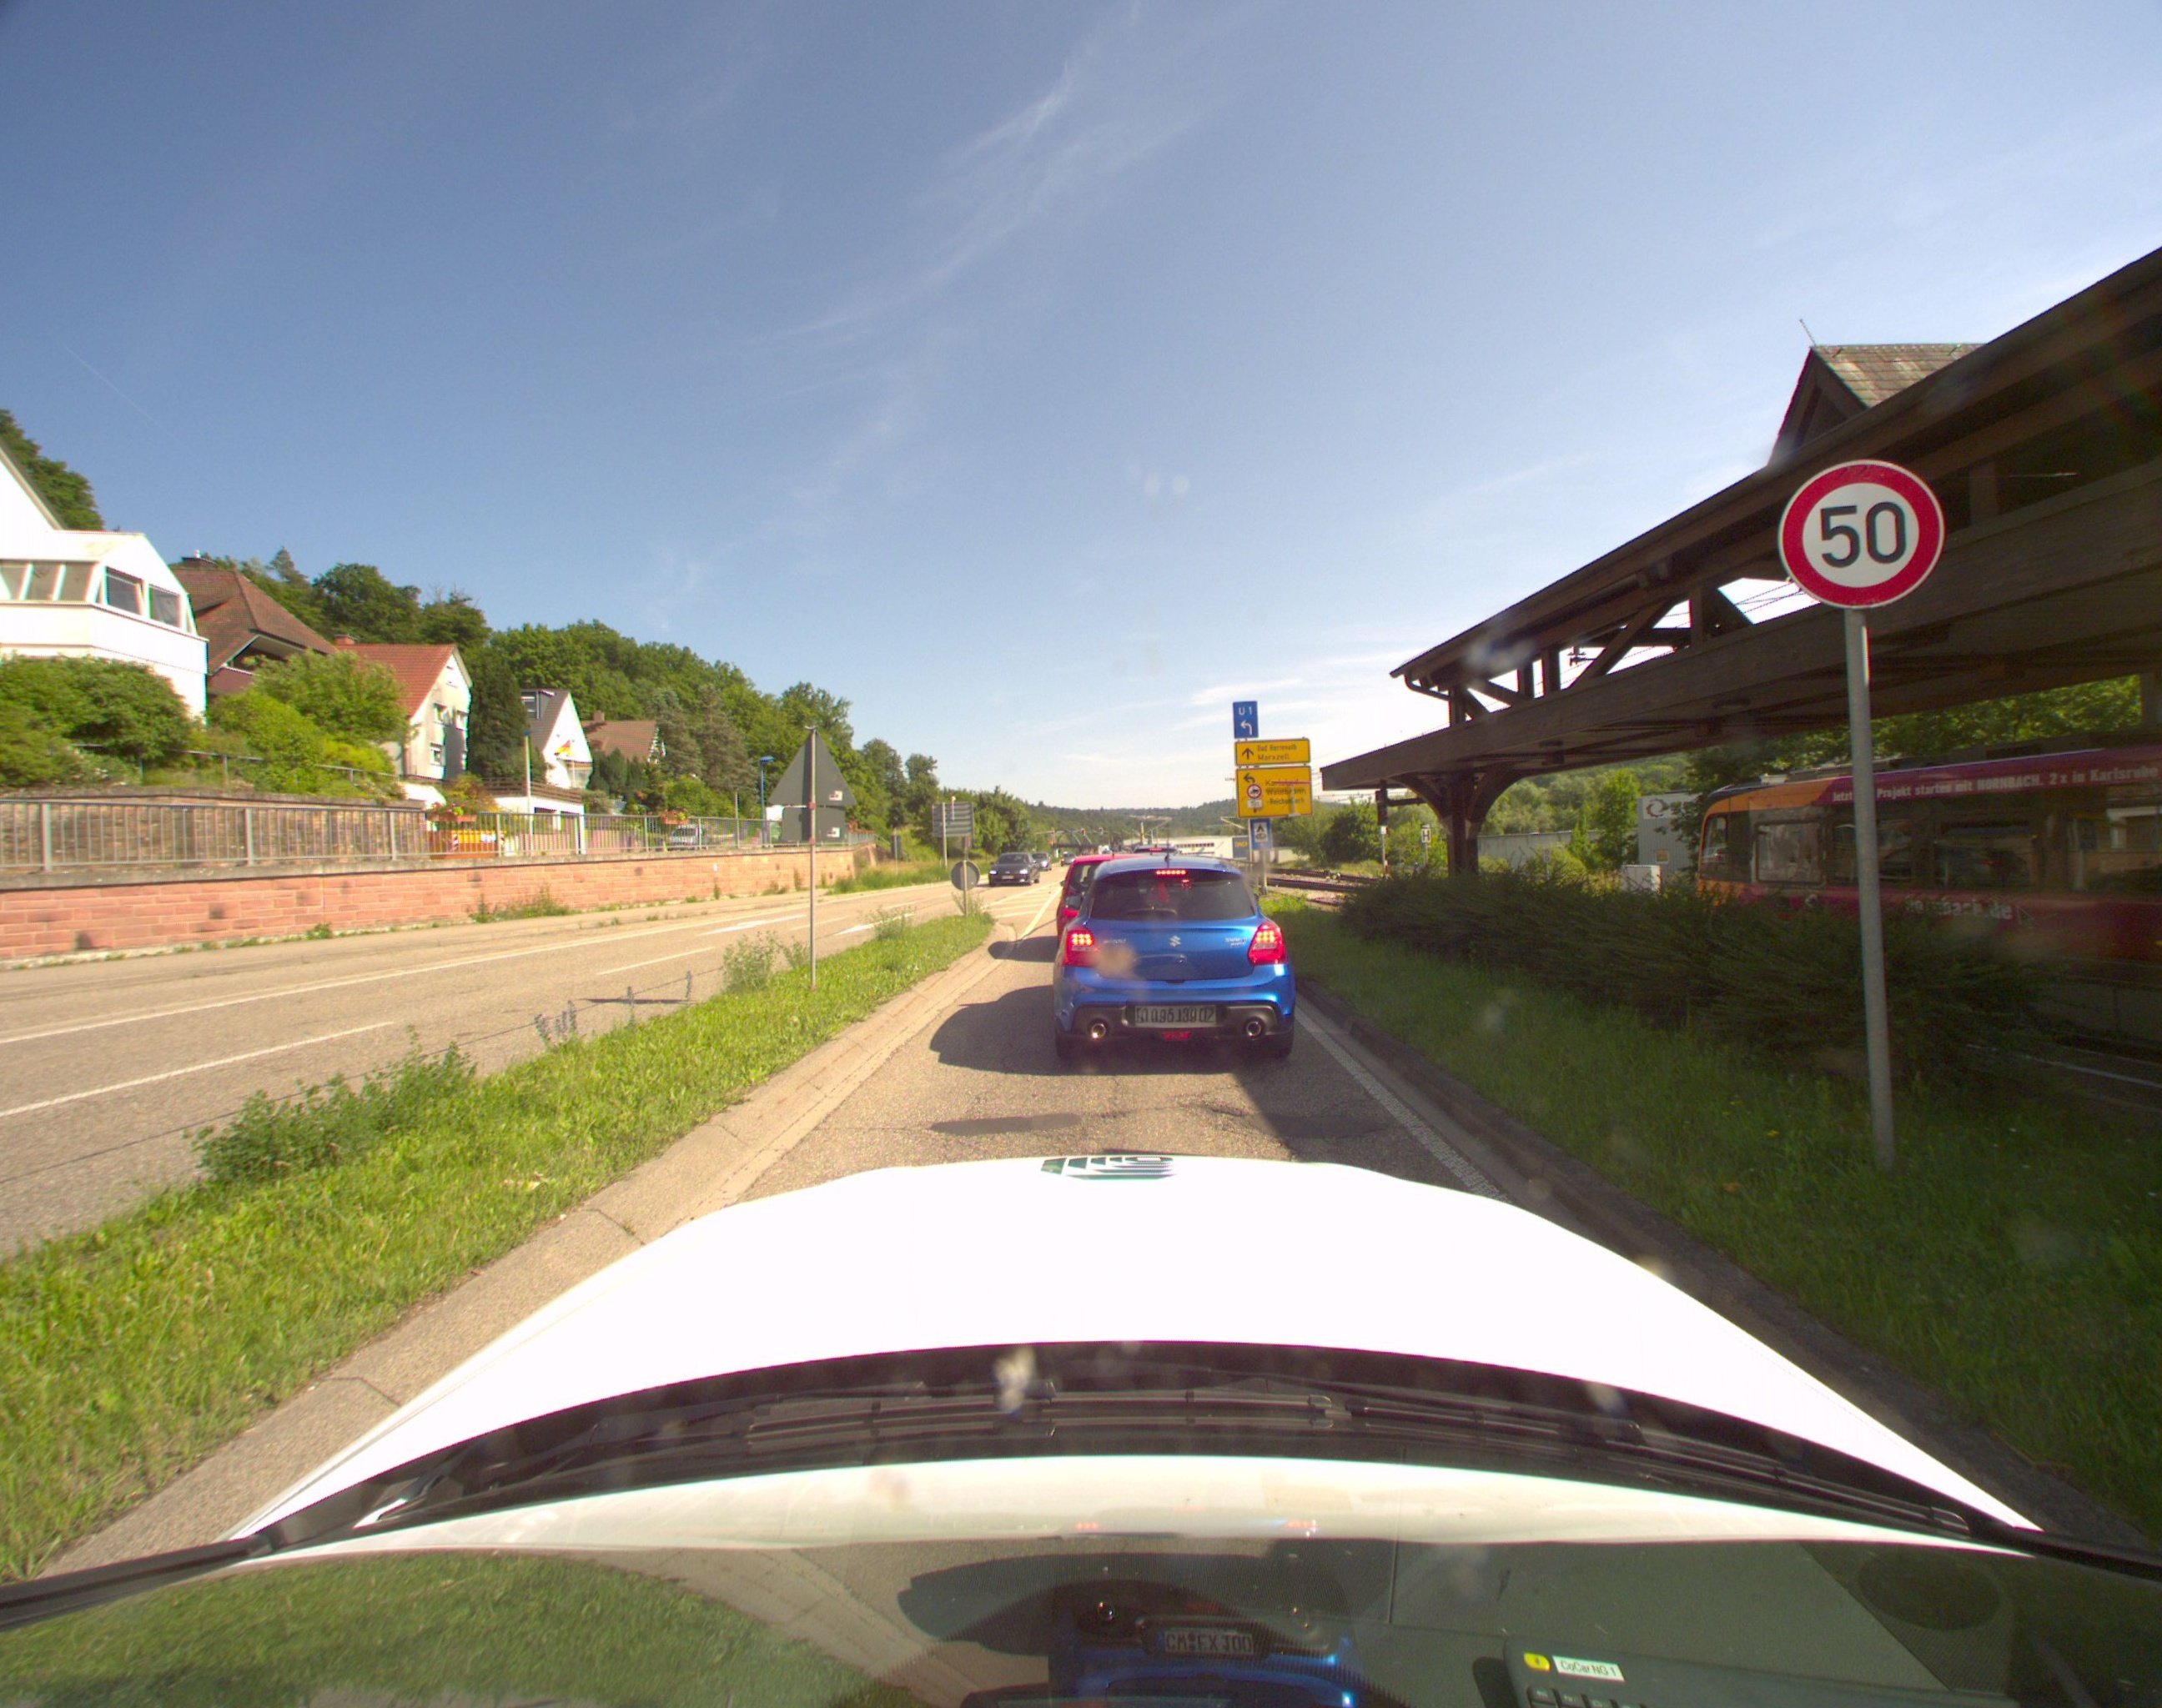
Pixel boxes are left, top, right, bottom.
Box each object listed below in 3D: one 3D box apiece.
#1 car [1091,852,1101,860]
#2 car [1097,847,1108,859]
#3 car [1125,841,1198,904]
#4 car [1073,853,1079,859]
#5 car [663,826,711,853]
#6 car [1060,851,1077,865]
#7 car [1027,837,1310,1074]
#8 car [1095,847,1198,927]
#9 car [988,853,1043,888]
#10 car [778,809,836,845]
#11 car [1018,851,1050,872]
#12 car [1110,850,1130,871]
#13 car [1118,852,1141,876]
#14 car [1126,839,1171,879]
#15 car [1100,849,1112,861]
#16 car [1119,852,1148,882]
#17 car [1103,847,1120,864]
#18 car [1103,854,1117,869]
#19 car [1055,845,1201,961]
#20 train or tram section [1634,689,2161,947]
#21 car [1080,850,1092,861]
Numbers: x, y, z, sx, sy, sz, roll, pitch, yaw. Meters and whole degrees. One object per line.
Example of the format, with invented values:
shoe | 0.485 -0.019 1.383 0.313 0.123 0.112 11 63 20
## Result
car | 3.155 0.421 171.856 1.986 1.554 4.217 0 0 2
car | 3.919 -0.175 147.956 1.986 2.144 4.722 0 0 2
car | 2.327 0.486 24.402 1.985 1.686 4.501 1 0 3
car | -1.533 0.671 261.324 1.986 1.664 4.001 0 0 1
car | -24.487 -0.877 50.726 1.898 1.629 3.981 -1 0 -14
car | -1.373 0.448 90.574 1.665 1.441 3.843 -1 0 3
car | 0.623 0.668 7.409 1.862 1.548 4.001 -1 0 1
car | 1.437 0.640 18.335 1.985 1.531 4.606 -2 0 3
car | -2.945 0.693 37.641 1.783 1.470 4.722 -1 0 5
car | -15.567 -1.496 46.494 2.017 1.920 4.724 0 1 -5
car | -3.828 0.595 67.100 1.985 1.564 4.514 -1 0 4
car | 3.984 0.618 83.650 1.986 2.013 4.002 1 1 2
car | 4.312 0.896 73.013 1.986 2.013 4.002 1 1 2
car | 3.151 0.217 38.341 1.985 1.736 4.004 1 0 3
car | 4.069 0.188 132.960 1.986 1.816 4.002 1 1 2
car | 3.739 0.928 58.801 1.986 2.013 4.002 1 1 2
car | 3.642 0.163 97.013 1.986 2.013 4.002 1 1 2
car | 4.096 1.046 114.547 1.986 2.013 4.002 1 1 2
car | 0.760 0.665 13.080 1.985 1.571 4.004 0 0 3
train or tram section | 15.522 -0.506 14.885 2.746 3.364 12.048 0 1 0
car | 0.886 0.233 140.579 1.986 1.783 4.002 0 0 2
